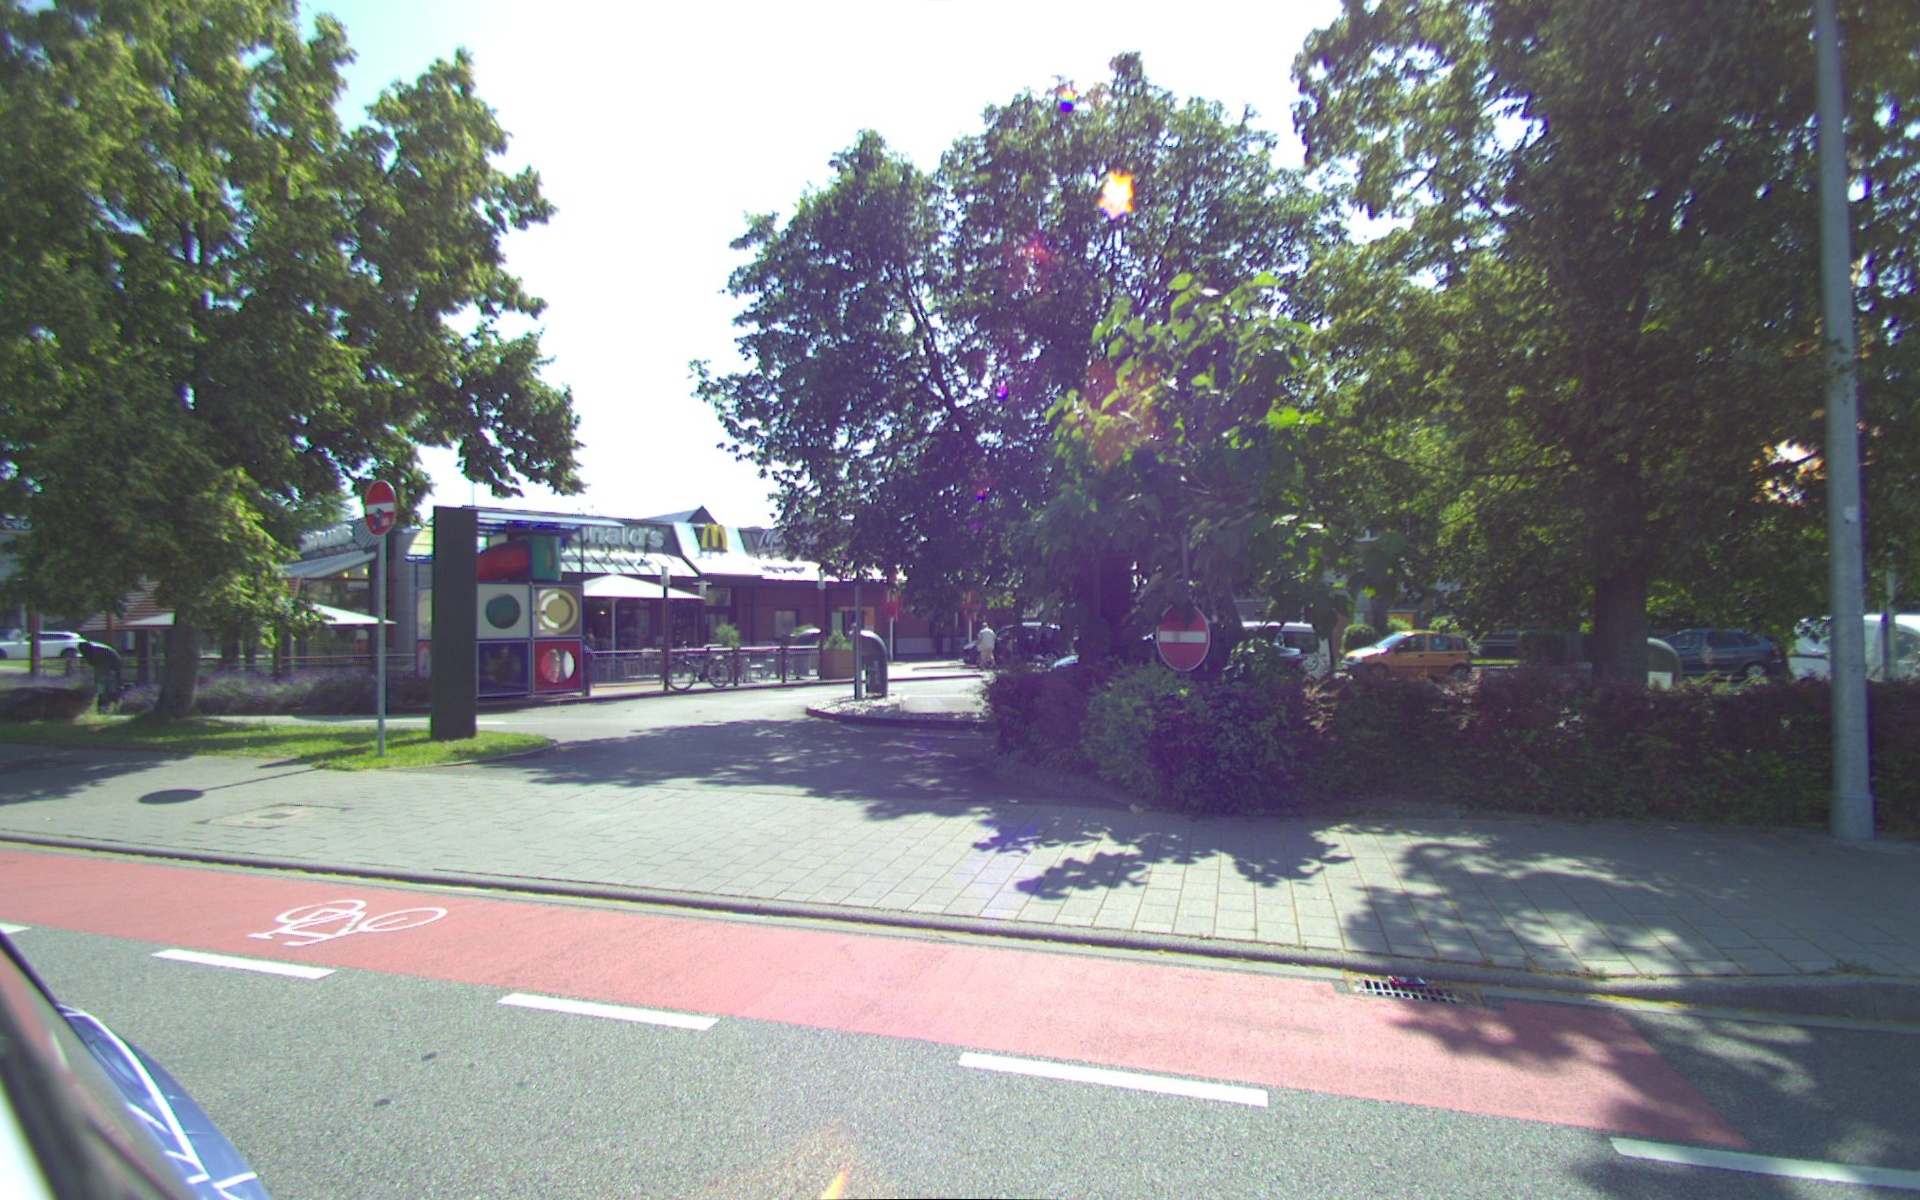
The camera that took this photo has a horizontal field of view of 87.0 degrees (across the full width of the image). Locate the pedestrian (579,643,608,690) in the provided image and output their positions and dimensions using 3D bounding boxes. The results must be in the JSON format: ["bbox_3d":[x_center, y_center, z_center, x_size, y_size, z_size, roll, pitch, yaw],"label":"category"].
[{"bbox_3d":[-10.208,1.840,28.192,0.543,1.219,0.593,-4,4,-40],"label":"pedestrian"}]

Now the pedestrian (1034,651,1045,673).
[{"bbox_3d":[2.896,2.265,36.870,0.360,0.785,0.335,0,-2,5],"label":"pedestrian"}]

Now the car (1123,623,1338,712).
[{"bbox_3d":[5.882,1.436,22.256,4.162,1.812,1.762,0,-1,-7],"label":"car"}]

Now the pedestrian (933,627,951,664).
[{"bbox_3d":[-0.832,2.062,45.916,0.542,1.664,0.614,-2,-3,44],"label":"pedestrian"}]

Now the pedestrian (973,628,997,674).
[{"bbox_3d":[0.924,1.841,36.623,0.823,1.650,0.787,0,-2,5],"label":"pedestrian"}]

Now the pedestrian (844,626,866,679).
[{"bbox_3d":[-3.183,1.579,30.697,0.589,1.579,0.571,0,-1,3],"label":"pedestrian"}]

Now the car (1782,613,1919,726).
[{"bbox_3d":[16.476,1.130,16.874,1.723,1.841,4.357,-1,-2,-4],"label":"car"}]

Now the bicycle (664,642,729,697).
[{"bbox_3d":[-6.369,1.667,24.510,1.588,1.195,0.310,-1,2,-43],"label":"bicycle"}]

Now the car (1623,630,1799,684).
[{"bbox_3d":[22.633,1.679,30.731,4.162,1.529,1.744,-1,-1,34],"label":"car"}]

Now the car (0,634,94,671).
[{"bbox_3d":[-44.891,2.497,49.012,1.832,1.639,4.307,2,0,44],"label":"car"}]

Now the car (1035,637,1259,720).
[{"bbox_3d":[3.559,1.479,19.661,3.938,1.505,1.658,0,-2,-6],"label":"car"}]

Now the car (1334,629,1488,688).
[{"bbox_3d":[13.031,1.671,29.395,3.674,1.644,1.667,0,-1,3],"label":"car"}]

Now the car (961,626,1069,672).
[{"bbox_3d":[2.077,1.837,38.102,3.950,1.670,1.953,0,-2,6],"label":"car"}]
